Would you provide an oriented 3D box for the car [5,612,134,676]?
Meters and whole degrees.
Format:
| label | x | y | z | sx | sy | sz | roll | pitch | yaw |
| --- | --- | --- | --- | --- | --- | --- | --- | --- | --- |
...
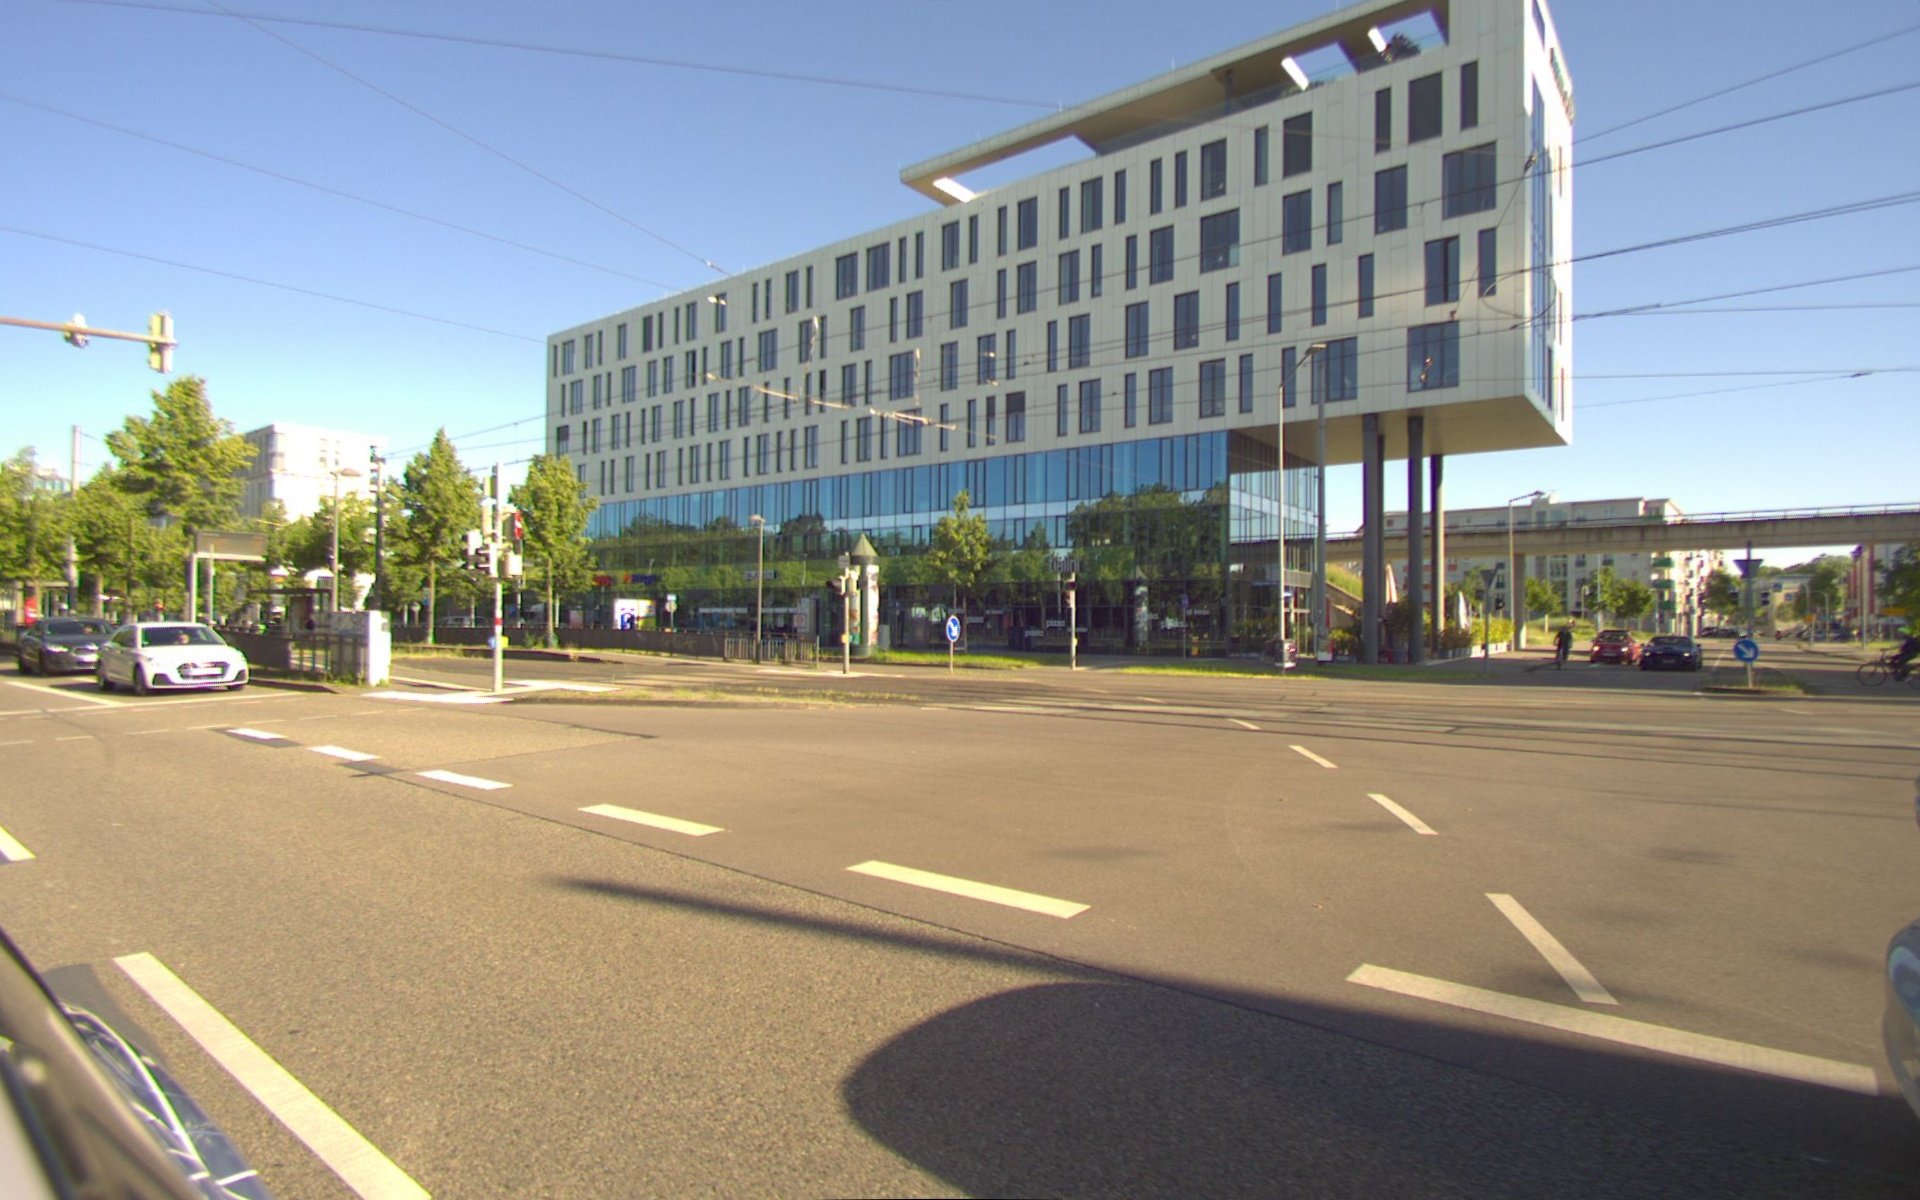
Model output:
| label | x | y | z | sx | sy | sz | roll | pitch | yaw |
| --- | --- | --- | --- | --- | --- | --- | --- | --- | --- |
| car | -23.622 | 1.115 | 26.807 | 4.337 | 1.538 | 1.782 | -1 | 0 | 38 |

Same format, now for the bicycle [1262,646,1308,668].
| label | x | y | z | sx | sy | sz | roll | pitch | yaw |
| --- | --- | --- | --- | --- | --- | --- | --- | --- | --- |
| bicycle | 13.188 | 2.312 | 41.098 | 1.687 | 0.869 | 0.478 | -1 | -2 | 33 |

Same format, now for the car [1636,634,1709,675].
| label | x | y | z | sx | sy | sz | roll | pitch | yaw |
| --- | --- | --- | --- | --- | --- | --- | --- | --- | --- |
| car | 28.876 | 2.155 | 40.967 | 1.999 | 1.577 | 3.945 | -1 | -2 | 41 |

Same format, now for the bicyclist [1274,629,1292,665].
| label | x | y | z | sx | sy | sz | roll | pitch | yaw |
| --- | --- | --- | --- | --- | --- | --- | --- | --- | --- |
| bicyclist | 13.133 | 1.914 | 41.149 | 0.551 | 1.434 | 0.478 | -1 | -2 | 33 |

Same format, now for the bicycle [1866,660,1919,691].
| label | x | y | z | sx | sy | sz | roll | pitch | yaw |
| --- | --- | --- | --- | --- | --- | --- | --- | --- | --- |
| bicycle | 27.998 | 2.234 | 29.875 | 1.832 | 0.869 | 0.522 | -1 | -2 | 40 |

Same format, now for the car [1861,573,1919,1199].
| label | x | y | z | sx | sy | sz | roll | pitch | yaw |
| --- | --- | --- | --- | --- | --- | --- | --- | --- | --- |
| car | 4.092 | 0.685 | 0.827 | 4.906 | 1.538 | 1.781 | -1 | 0 | 40 |

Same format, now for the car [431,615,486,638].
| label | x | y | z | sx | sy | sz | roll | pitch | yaw |
| --- | --- | --- | --- | --- | --- | --- | --- | --- | --- |
| car | -35.770 | 1.884 | 72.113 | 4.337 | 1.538 | 1.782 | -1 | 0 | 38 |

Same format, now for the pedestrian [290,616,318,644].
| label | x | y | z | sx | sy | sz | roll | pitch | yaw |
| --- | --- | --- | --- | --- | --- | --- | --- | --- | --- |
| pedestrian | -34.297 | 1.567 | 52.912 | 0.844 | 1.477 | 1.054 | -1 | -1 | 43 |

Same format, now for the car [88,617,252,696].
| label | x | y | z | sx | sy | sz | roll | pitch | yaw |
| --- | --- | --- | --- | --- | --- | --- | --- | --- | --- |
| car | -16.193 | 1.094 | 20.694 | 3.998 | 1.437 | 1.656 | -1 | 0 | 37 |

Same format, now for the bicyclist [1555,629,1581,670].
| label | x | y | z | sx | sy | sz | roll | pitch | yaw |
| --- | --- | --- | --- | --- | --- | --- | --- | --- | --- |
| bicyclist | 24.419 | 1.973 | 40.640 | 0.750 | 1.595 | 0.943 | -2 | -2 | 40 |

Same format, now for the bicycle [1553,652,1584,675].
| label | x | y | z | sx | sy | sz | roll | pitch | yaw |
| --- | --- | --- | --- | --- | --- | --- | --- | --- | --- |
| bicycle | 24.462 | 2.552 | 40.670 | 0.748 | 0.869 | 1.806 | -2 | -2 | 40 |

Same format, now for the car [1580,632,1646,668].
| label | x | y | z | sx | sy | sz | roll | pitch | yaw |
| --- | --- | --- | --- | --- | --- | --- | --- | --- | --- |
| car | 30.232 | 2.279 | 46.818 | 1.999 | 1.577 | 3.945 | -1 | -2 | 41 |

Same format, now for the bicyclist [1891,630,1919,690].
| label | x | y | z | sx | sy | sz | roll | pitch | yaw |
| --- | --- | --- | --- | --- | --- | --- | --- | --- | --- |
| bicyclist | 28.069 | 1.768 | 29.825 | 0.836 | 1.739 | 0.524 | -2 | -2 | 40 |
